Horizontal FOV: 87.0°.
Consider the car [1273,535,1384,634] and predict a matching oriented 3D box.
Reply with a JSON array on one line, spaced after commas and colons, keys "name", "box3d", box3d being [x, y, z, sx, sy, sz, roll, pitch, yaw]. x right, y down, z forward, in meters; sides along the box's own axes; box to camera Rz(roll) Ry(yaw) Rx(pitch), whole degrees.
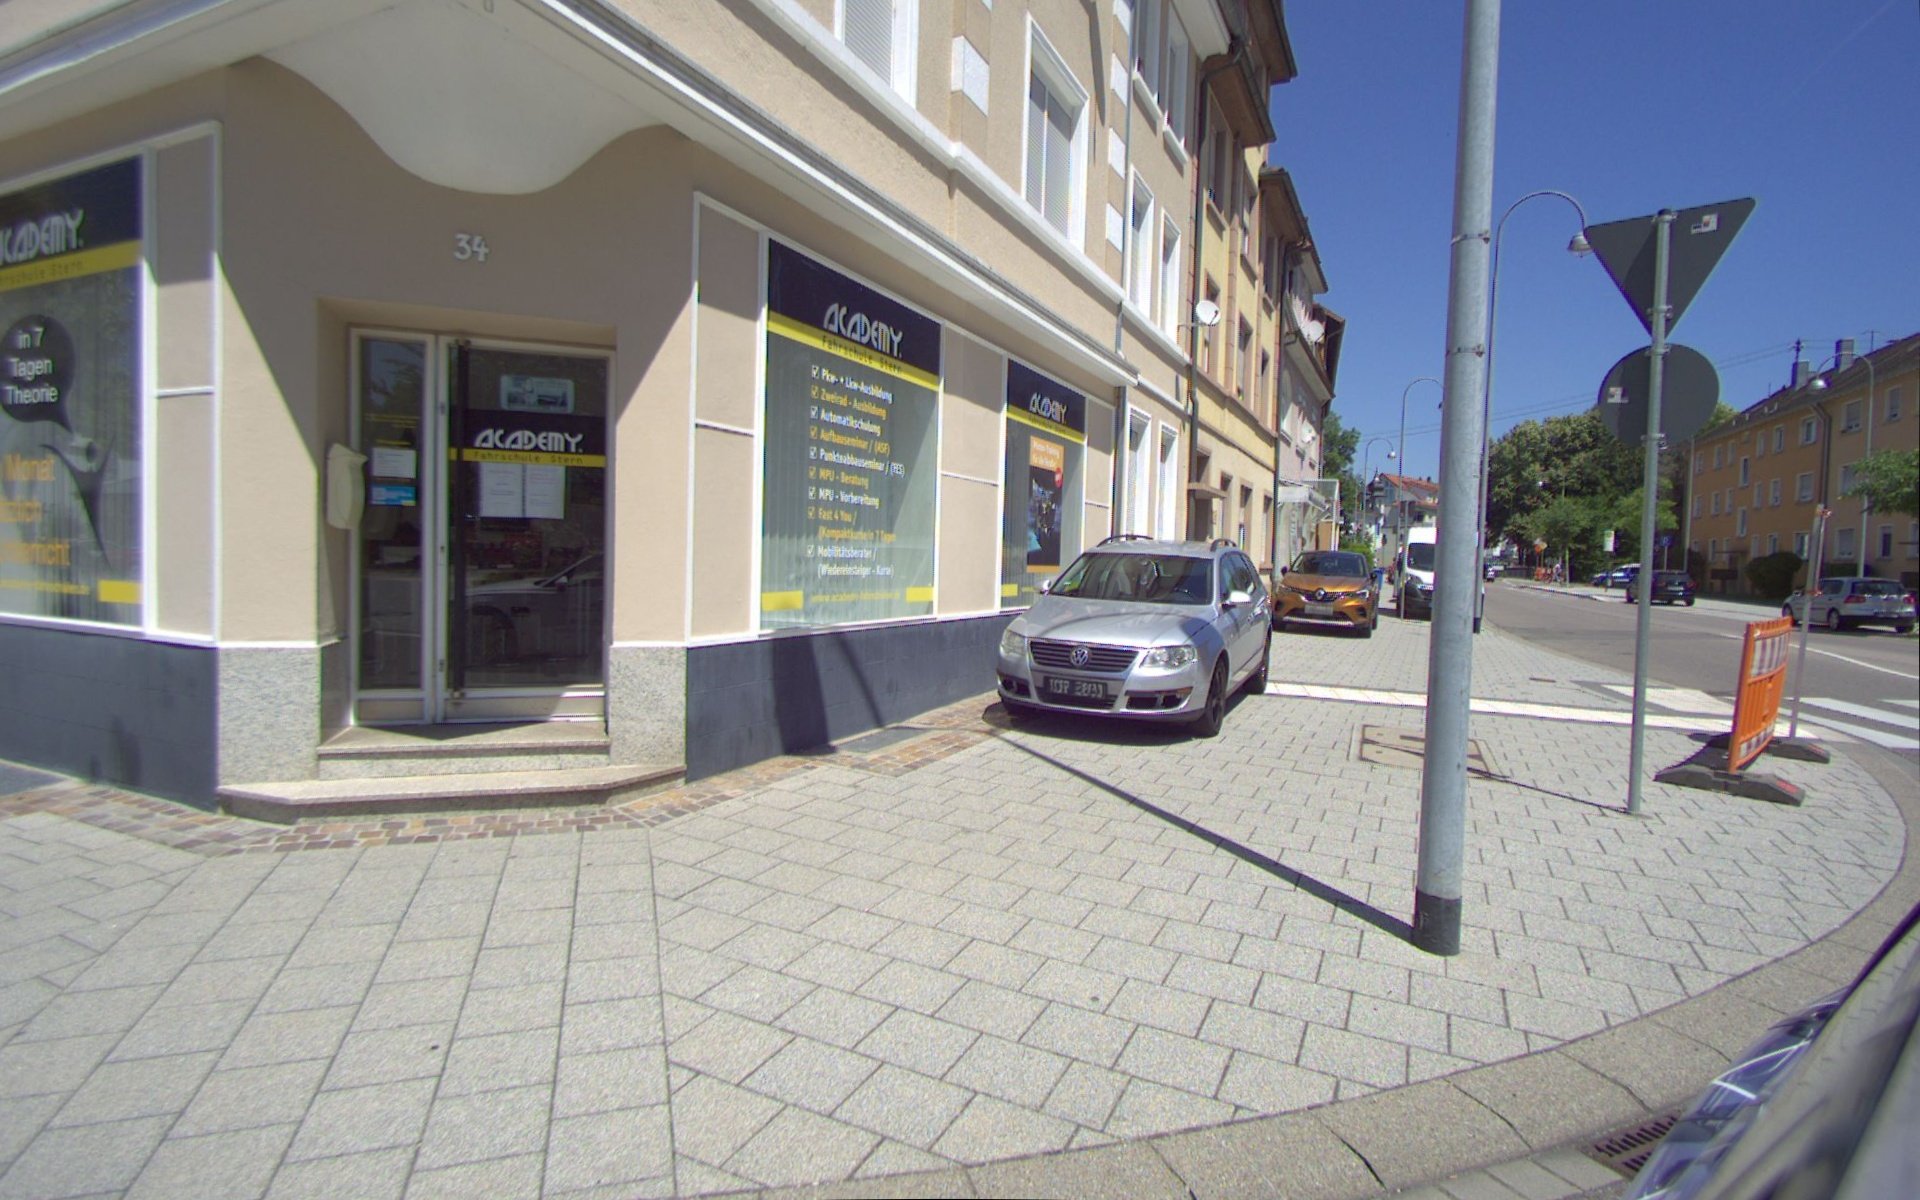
[{"name": "car", "box3d": [7.360, -0.386, 19.997, 1.661, 1.639, 4.329, 5, 4, 24]}]

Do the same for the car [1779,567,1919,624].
[{"name": "car", "box3d": [25.150, -0.173, 28.343, 1.972, 1.437, 4.069, 1, 2, 16]}]

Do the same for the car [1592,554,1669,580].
[{"name": "car", "box3d": [50.584, -2.538, 76.432, 4.369, 1.896, 1.813, 1, 3, 12]}]

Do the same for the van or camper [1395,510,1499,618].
[{"name": "van or camper", "box3d": [13.368, -1.043, 28.090, 2.148, 2.619, 5.723, 4, 4, 23]}]

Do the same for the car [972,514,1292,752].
[{"name": "car", "box3d": [1.842, 0.098, 9.235, 1.751, 1.548, 4.653, 4, 4, 24]}]

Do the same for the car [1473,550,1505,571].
[{"name": "car", "box3d": [40.460, -3.059, 77.476, 1.644, 1.514, 3.736, 3, 3, 20]}]

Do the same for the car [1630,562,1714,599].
[{"name": "car", "box3d": [30.701, -0.888, 43.782, 1.840, 1.525, 4.534, 0, 2, 20]}]
